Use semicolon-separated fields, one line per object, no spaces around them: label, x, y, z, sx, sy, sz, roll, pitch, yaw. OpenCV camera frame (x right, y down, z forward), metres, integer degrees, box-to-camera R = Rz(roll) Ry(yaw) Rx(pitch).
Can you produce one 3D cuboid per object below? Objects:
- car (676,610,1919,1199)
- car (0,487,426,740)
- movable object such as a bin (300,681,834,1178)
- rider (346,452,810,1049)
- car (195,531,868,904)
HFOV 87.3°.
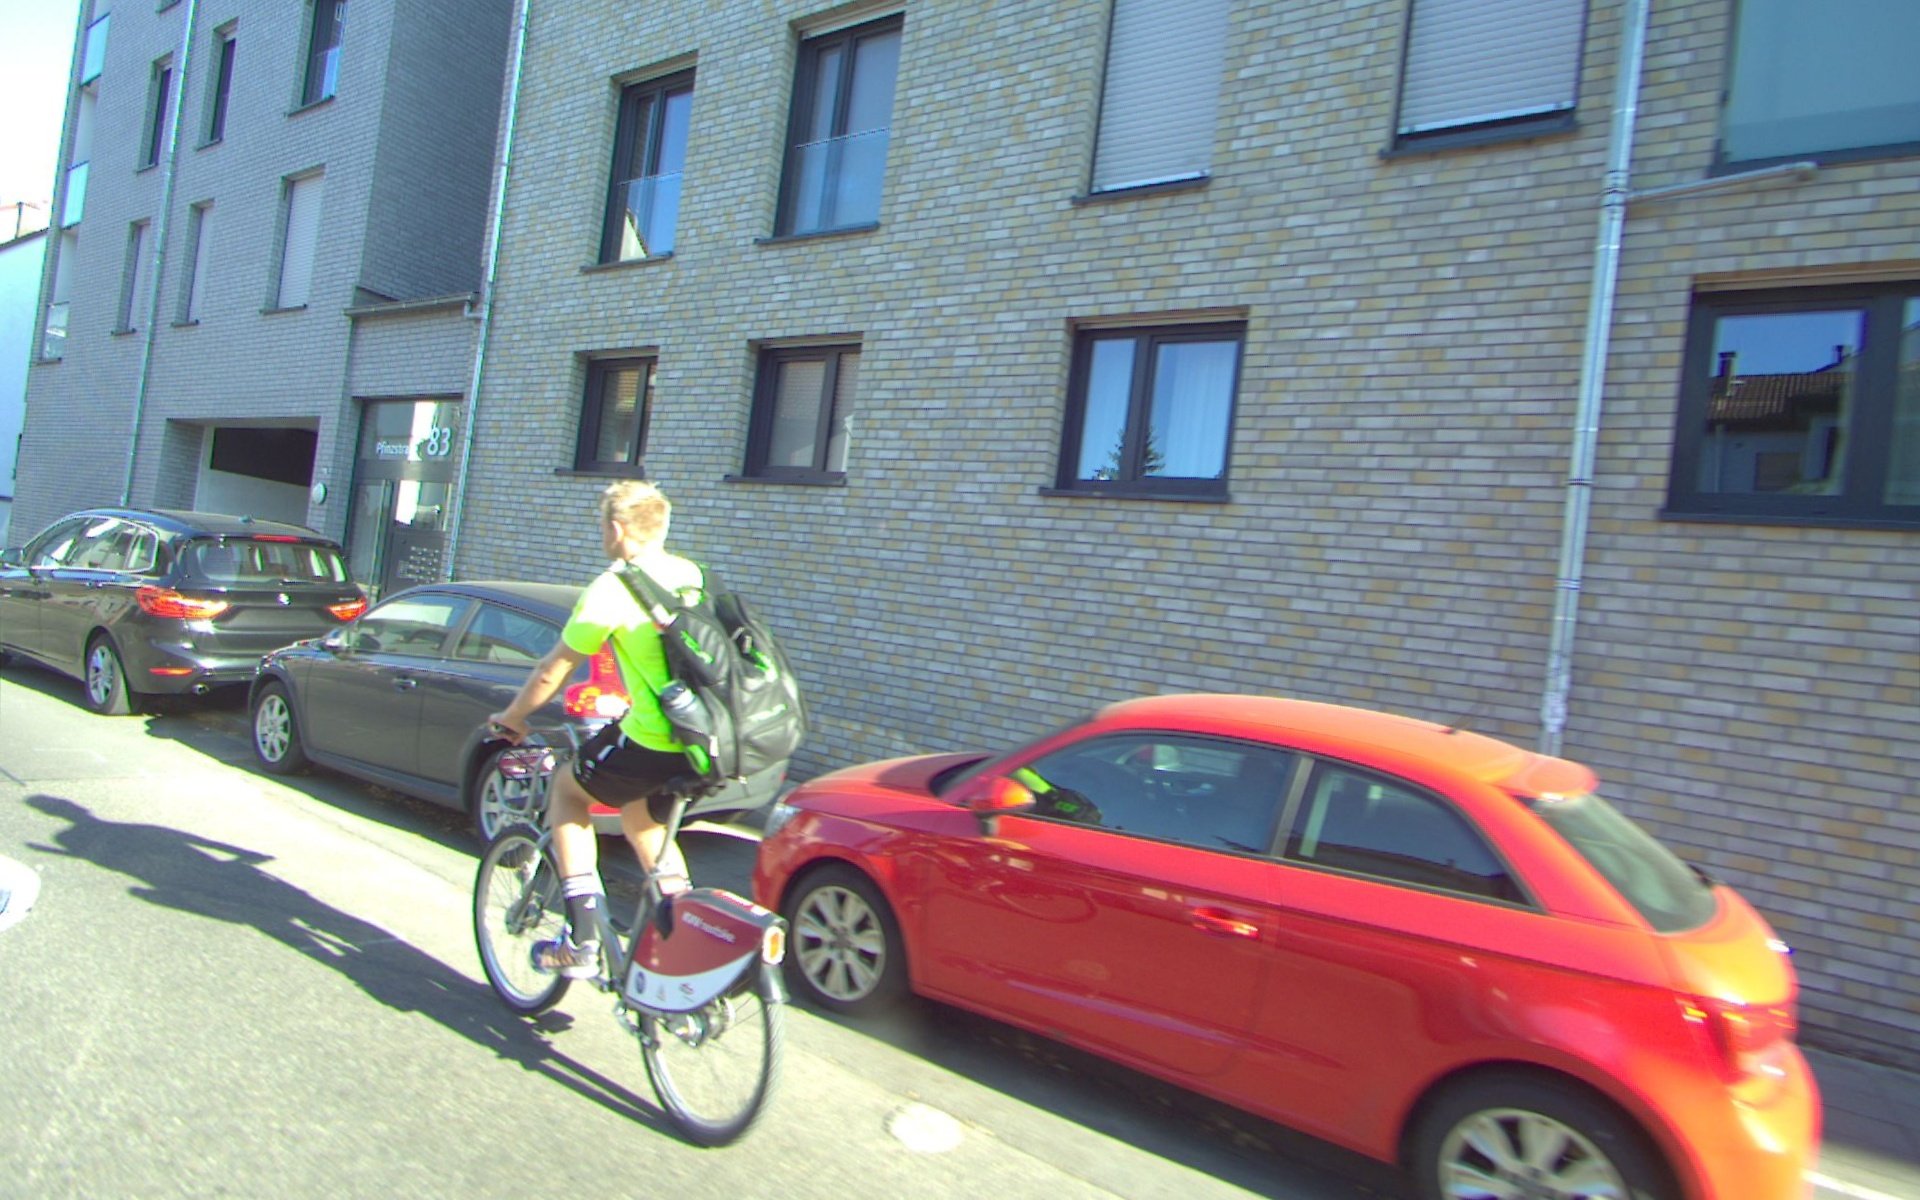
car;0.939;0.976;4.052;4.007;1.423;1.713;7;2;33
car;-7.356;0.023;9.311;4.682;1.672;1.998;7;-1;31
movable object such as a bin;-1.326;0.903;3.227;1.810;1.043;0.456;5;-5;31
rider;-1.208;0.392;3.214;1.065;1.577;0.655;5;-5;31
car;-3.012;0.586;6.832;4.295;1.523;1.997;7;-2;32
